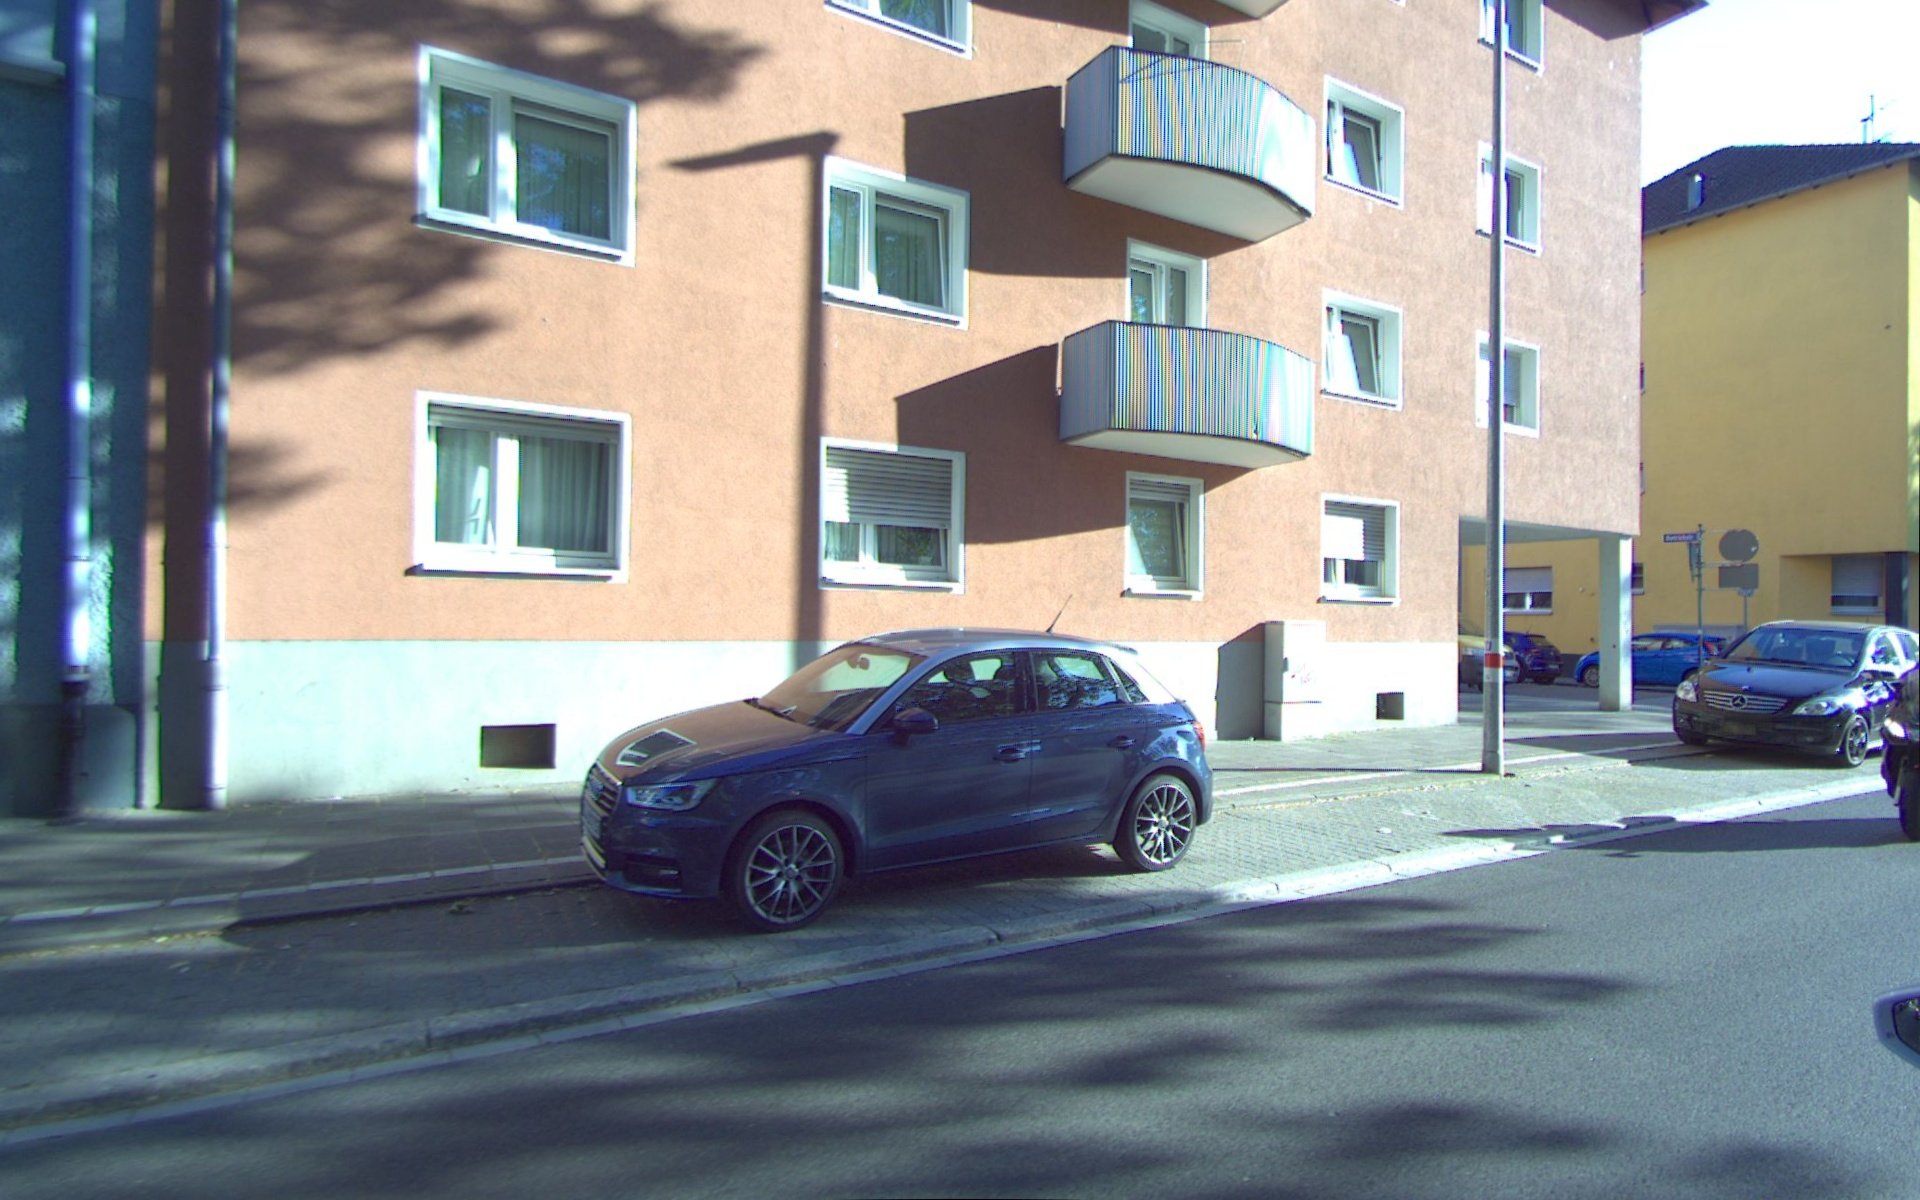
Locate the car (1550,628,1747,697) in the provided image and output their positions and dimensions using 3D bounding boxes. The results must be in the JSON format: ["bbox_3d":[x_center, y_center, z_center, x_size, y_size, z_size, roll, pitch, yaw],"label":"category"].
[{"bbox_3d":[17.323,1.515,25.437,1.728,1.587,3.767,1,-2,-30],"label":"car"}]

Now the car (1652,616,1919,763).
[{"bbox_3d":[10.654,1.020,12.605,3.973,1.544,1.670,1,0,-30],"label":"car"}]

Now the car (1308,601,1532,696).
[{"bbox_3d":[10.901,1.114,24.193,1.896,2.040,4.727,1,-2,-28],"label":"car"}]

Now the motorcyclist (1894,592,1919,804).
[{"bbox_3d":[7.780,0.754,7.782,0.822,1.626,0.583,1,-1,-31],"label":"motorcyclist"}]

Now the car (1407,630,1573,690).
[{"bbox_3d":[15.179,1.674,28.959,1.728,1.587,3.972,1,-2,-29],"label":"car"}]

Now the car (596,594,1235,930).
[{"bbox_3d":[-0.216,0.766,6.180,3.559,1.506,1.669,1,0,-31],"label":"car"}]

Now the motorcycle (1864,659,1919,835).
[{"bbox_3d":[7.820,1.085,7.794,2.238,1.257,0.544,2,-4,-31],"label":"motorcycle"}]
